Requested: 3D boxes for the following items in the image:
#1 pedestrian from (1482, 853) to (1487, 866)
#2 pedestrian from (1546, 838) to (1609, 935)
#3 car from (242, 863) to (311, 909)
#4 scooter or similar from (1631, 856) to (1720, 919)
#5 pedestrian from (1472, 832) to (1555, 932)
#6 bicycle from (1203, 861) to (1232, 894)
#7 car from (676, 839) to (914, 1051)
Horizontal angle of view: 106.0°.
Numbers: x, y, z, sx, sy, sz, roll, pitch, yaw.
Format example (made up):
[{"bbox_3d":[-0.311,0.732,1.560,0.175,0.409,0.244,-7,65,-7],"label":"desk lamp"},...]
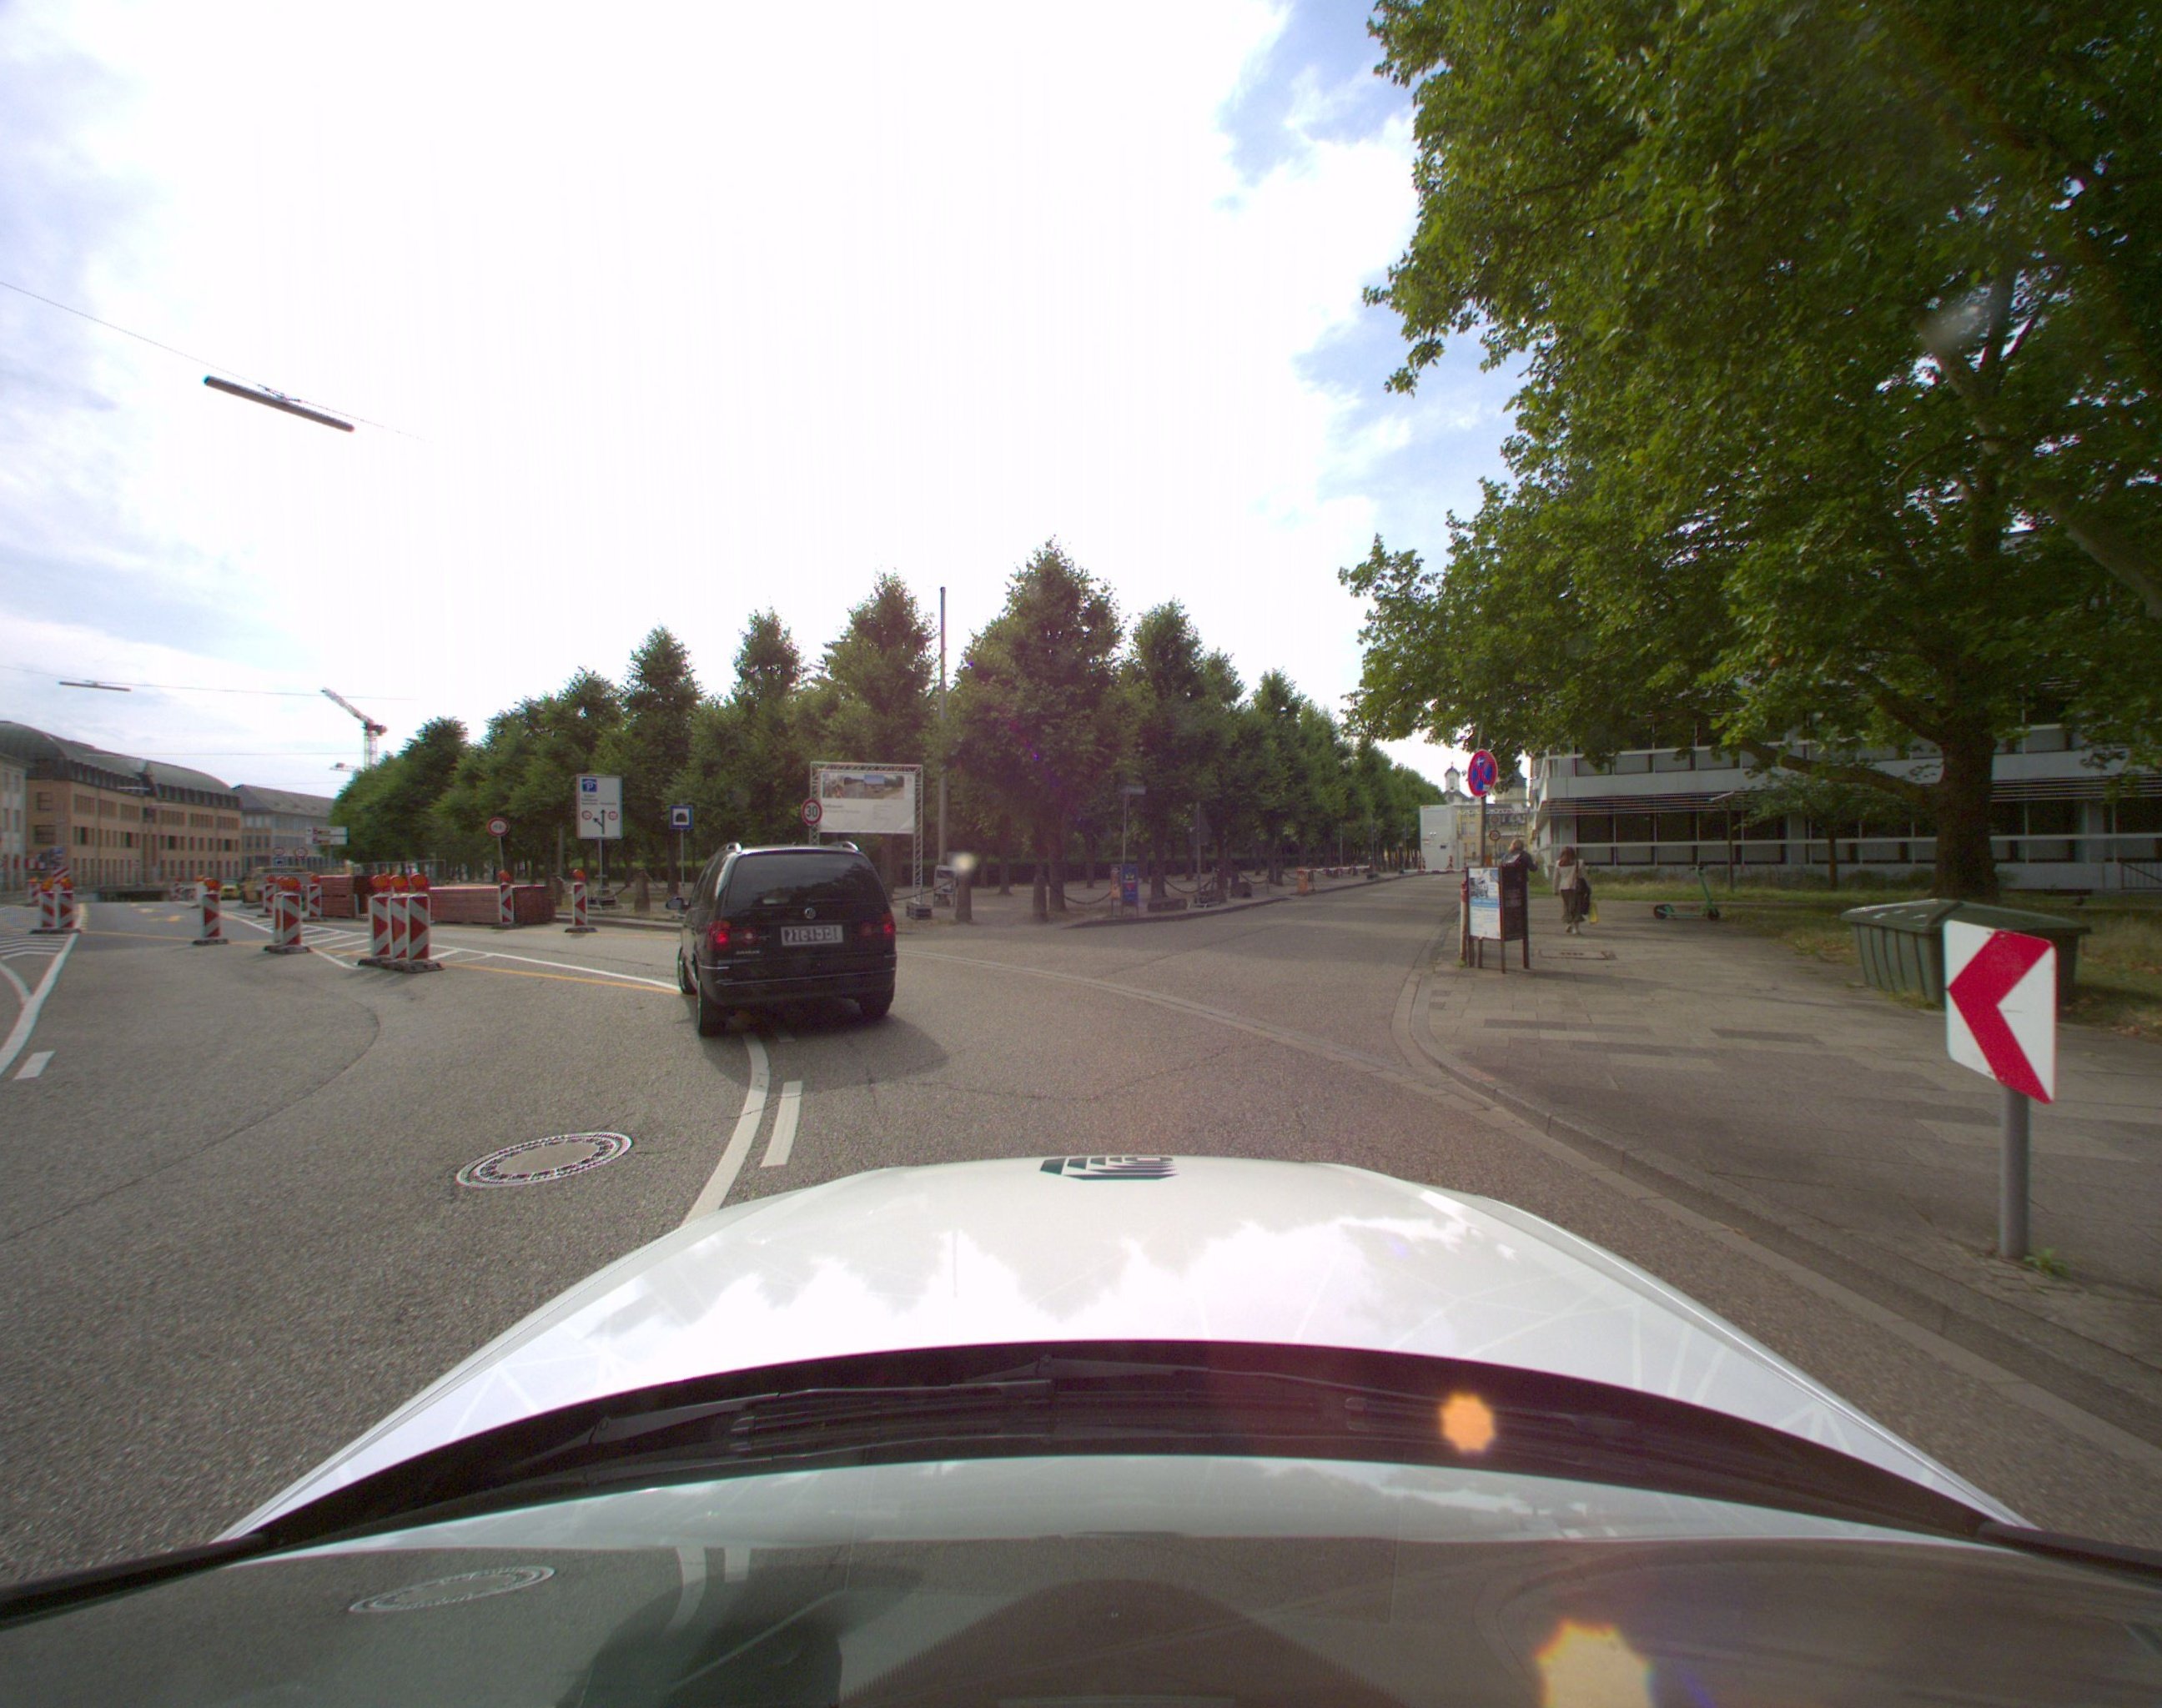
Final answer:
[{"bbox_3d":[49.657,0.670,100.176,0.456,1.625,0.635,0,0,15],"label":"pedestrian"},{"bbox_3d":[8.731,0.549,14.358,0.887,1.641,0.857,1,1,28],"label":"pedestrian"},{"bbox_3d":[-39.638,1.516,40.116,4.289,2.013,2.013,1,1,40],"label":"car"},{"bbox_3d":[12.507,0.684,17.176,1.437,1.269,0.573,1,1,24],"label":"scooter or similar"},{"bbox_3d":[7.899,0.473,14.868,1.262,1.741,0.952,0,1,-41],"label":"pedestrian"},{"bbox_3d":[5.076,0.857,30.219,0.946,1.110,2.588,0,1,12],"label":"bicycle"},{"bbox_3d":[-3.316,0.759,8.867,1.804,1.708,4.092,-1,0,-29],"label":"car"}]
